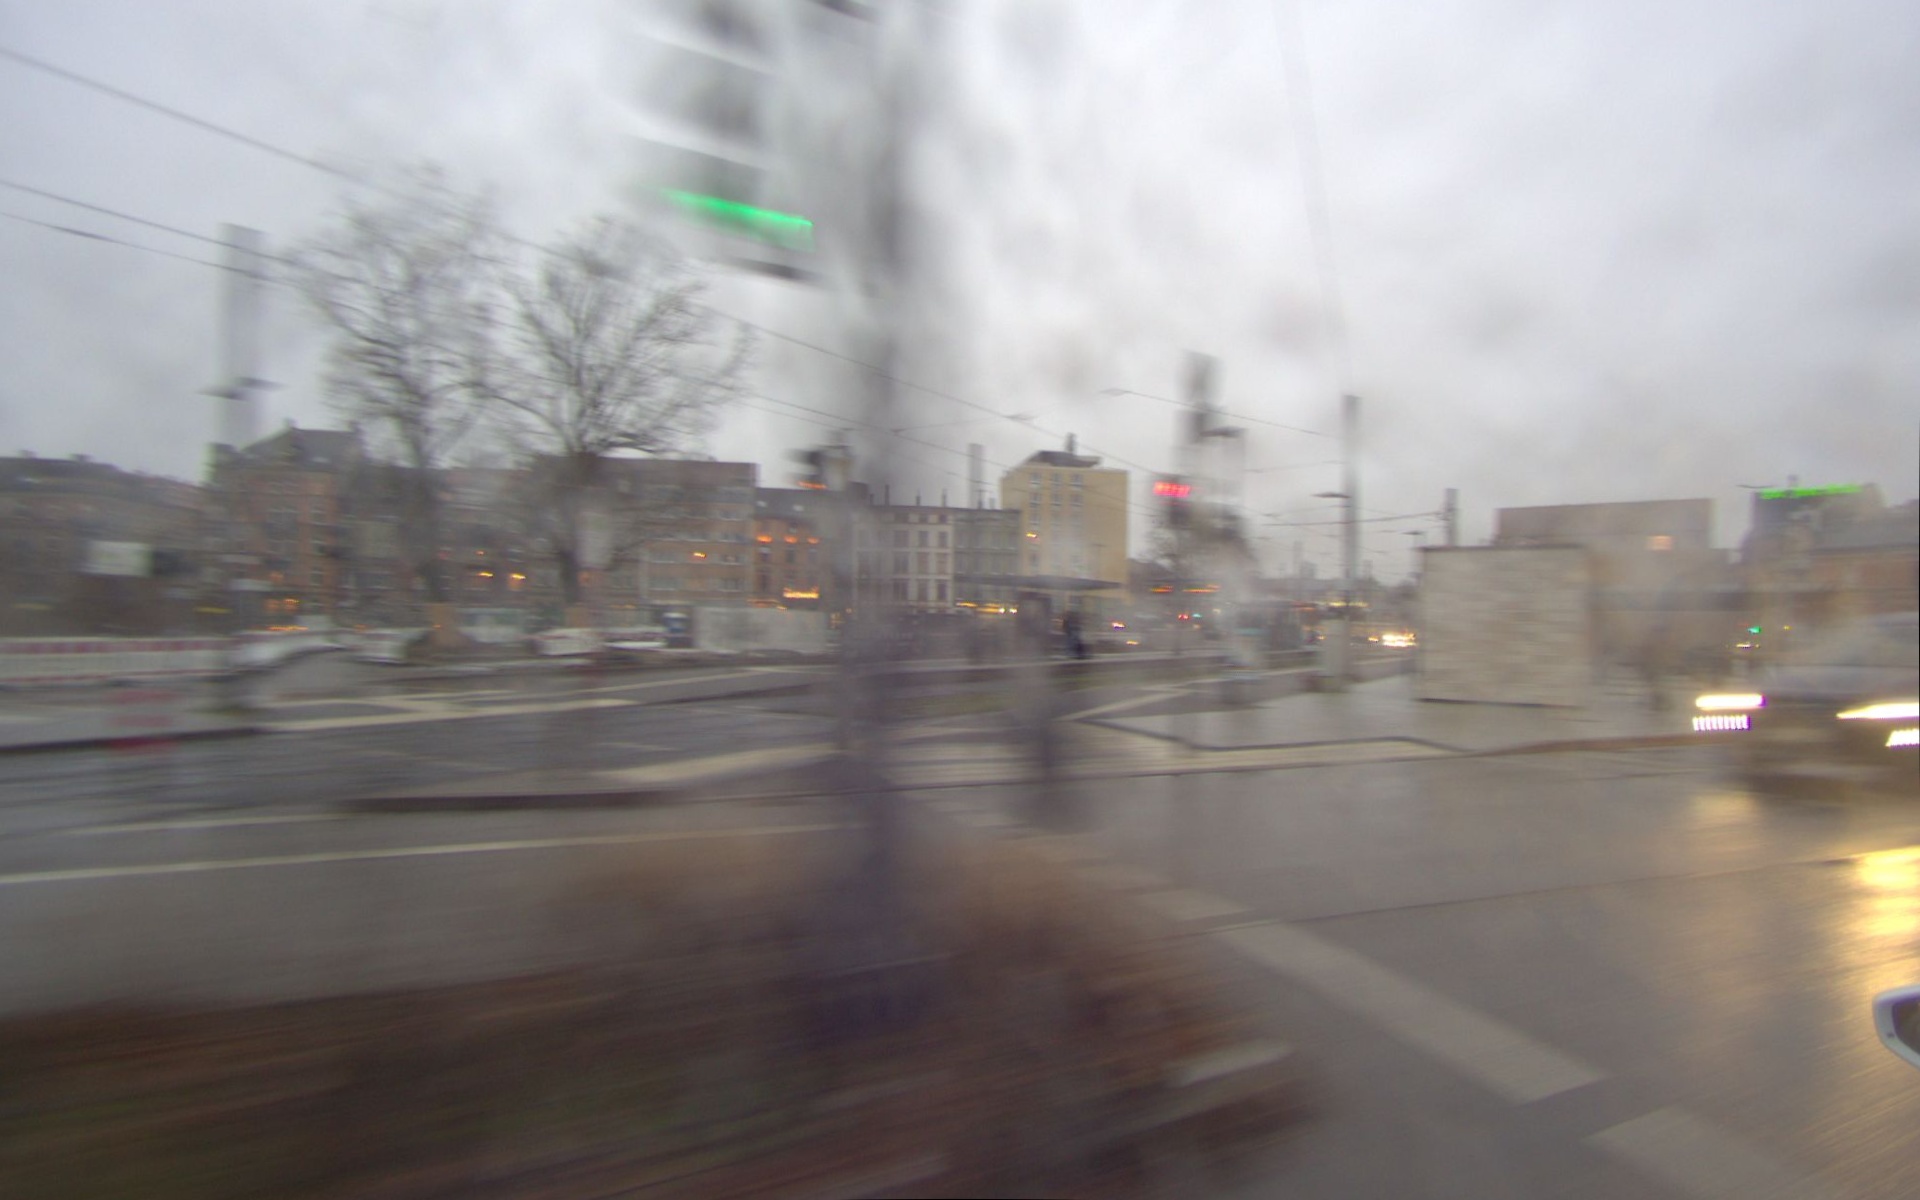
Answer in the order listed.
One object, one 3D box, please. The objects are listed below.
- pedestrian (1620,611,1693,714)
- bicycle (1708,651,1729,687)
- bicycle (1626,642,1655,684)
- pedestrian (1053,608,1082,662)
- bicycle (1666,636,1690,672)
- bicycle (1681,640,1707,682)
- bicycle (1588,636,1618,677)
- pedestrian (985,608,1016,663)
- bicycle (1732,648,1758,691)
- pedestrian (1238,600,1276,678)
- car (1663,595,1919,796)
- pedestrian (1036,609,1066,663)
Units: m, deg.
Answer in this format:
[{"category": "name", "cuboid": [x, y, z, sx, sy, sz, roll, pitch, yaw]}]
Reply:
[{"category": "pedestrian", "cuboid": [11.929, 1.060, 17.216, 0.719, 1.696, 0.672, 3, 0, -18]}, {"category": "bicycle", "cuboid": [27.065, 2.446, 35.840, 0.541, 1.180, 1.892, 2, -1, 37]}, {"category": "bicycle", "cuboid": [20.200, 1.866, 29.806, 0.542, 1.180, 1.891, 2, -1, 38]}, {"category": "pedestrian", "cuboid": [3.786, 1.229, 35.393, 0.702, 1.830, 0.715, 1, -1, 34]}, {"category": "bicycle", "cuboid": [24.755, 1.863, 34.606, 0.542, 1.180, 1.891, 2, -1, 38]}, {"category": "bicycle", "cuboid": [22.204, 1.831, 30.367, 0.542, 1.180, 1.891, 2, -1, 38]}, {"category": "bicycle", "cuboid": [19.673, 1.729, 30.726, 0.542, 1.180, 1.891, 2, -1, 38]}, {"category": "pedestrian", "cuboid": [1.335, 1.177, 33.282, 0.702, 1.780, 0.715, 1, -1, 34]}, {"category": "bicycle", "cuboid": [22.831, 2.007, 29.223, 0.542, 1.180, 1.891, 2, -1, 38]}, {"category": "pedestrian", "cuboid": [7.176, 0.932, 24.246, 0.594, 1.837, 0.823, 2, 0, 34]}, {"category": "car", "cuboid": [9.428, 0.856, 10.094, 4.465, 1.684, 1.751, 1, -2, -23]}, {"category": "pedestrian", "cuboid": [3.139, 1.241, 34.588, 0.702, 1.830, 0.715, 1, -1, 34]}]
